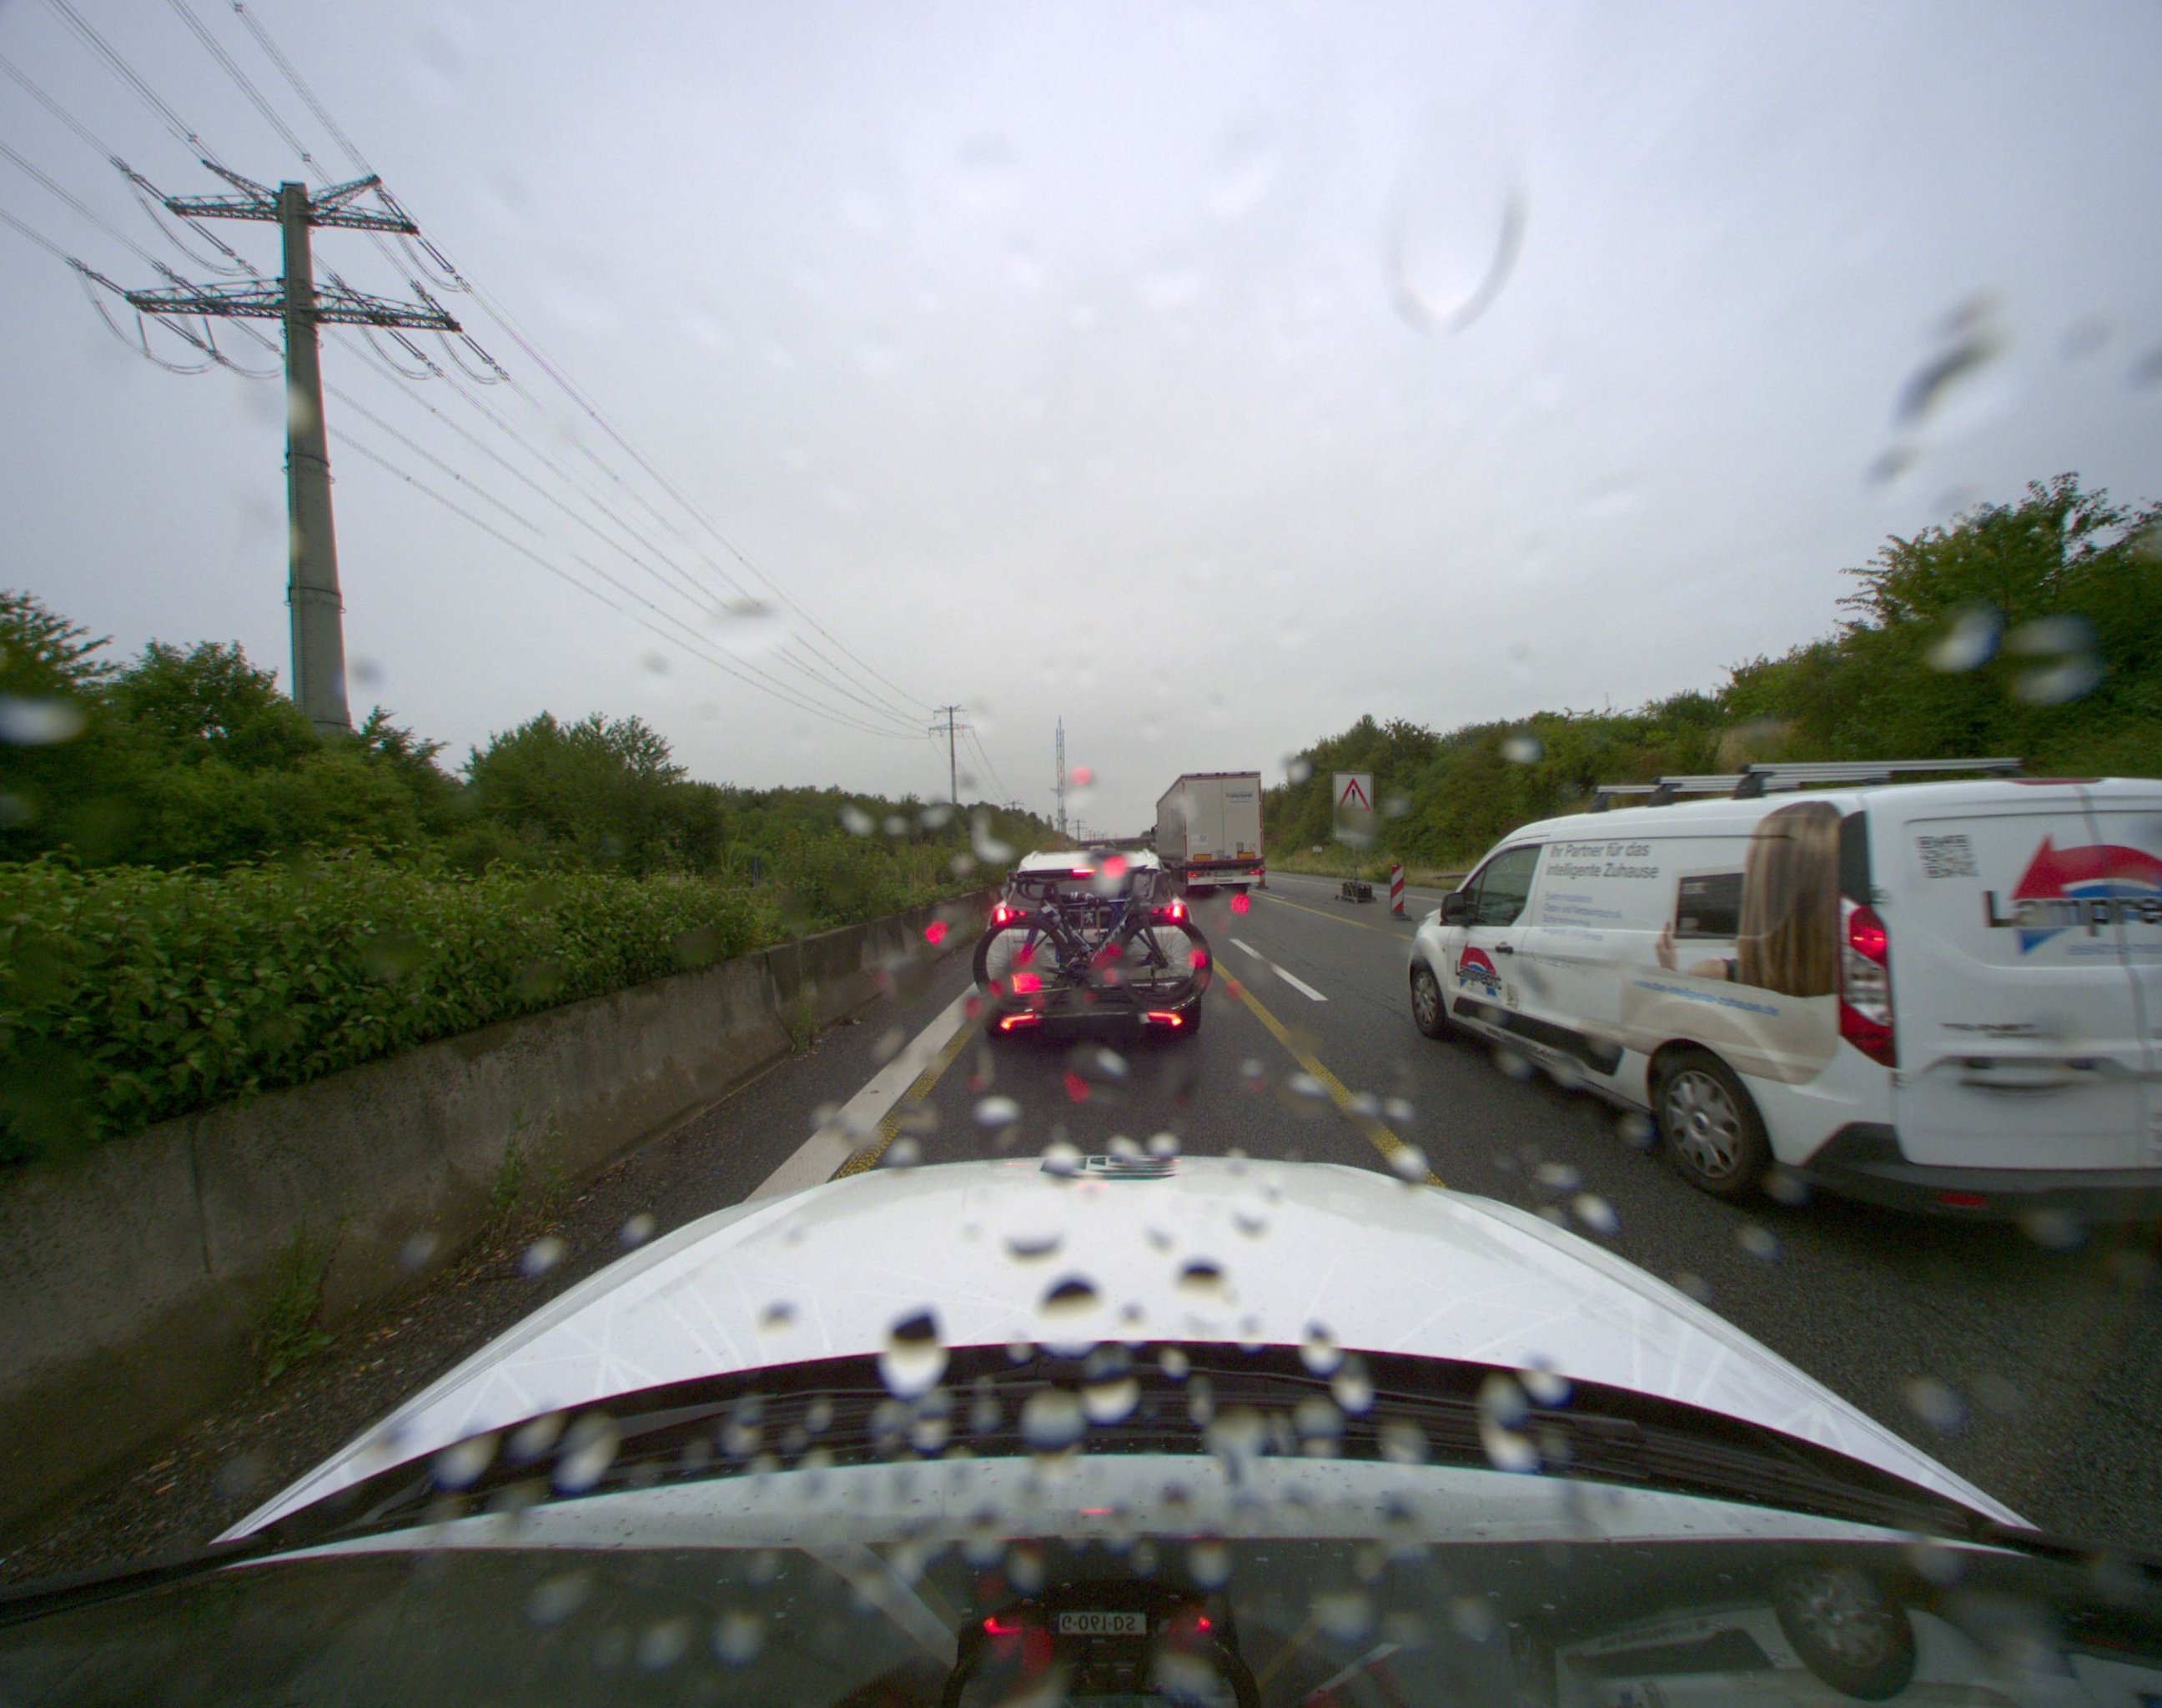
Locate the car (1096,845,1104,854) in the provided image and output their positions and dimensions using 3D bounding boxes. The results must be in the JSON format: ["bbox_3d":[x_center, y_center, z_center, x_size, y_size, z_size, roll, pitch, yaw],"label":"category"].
[{"bbox_3d":[4.504,-1.023,191.808,1.924,1.973,4.002,-1,1,2],"label":"car"}]

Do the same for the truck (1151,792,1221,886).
[{"bbox_3d":[4.886,-0.670,39.000,2.650,4.076,6.542,-1,0,2],"label":"truck"}]

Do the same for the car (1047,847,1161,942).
[{"bbox_3d":[0.440,0.662,15.419,1.843,1.531,4.002,-1,0,2],"label":"car"}]

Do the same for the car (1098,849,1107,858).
[{"bbox_3d":[4.753,-0.188,179.171,1.924,1.910,4.002,-1,1,2],"label":"car"}]

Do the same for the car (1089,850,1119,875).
[{"bbox_3d":[1.515,0.527,53.305,1.843,1.531,4.002,-1,0,2],"label":"car"}]

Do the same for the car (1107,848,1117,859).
[{"bbox_3d":[6.061,-0.067,158.803,1.924,1.973,4.002,-1,1,2],"label":"car"}]

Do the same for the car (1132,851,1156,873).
[{"bbox_3d":[6.069,0.795,78.933,2.102,1.973,4.002,-1,1,2],"label":"car"}]

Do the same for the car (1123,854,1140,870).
[{"bbox_3d":[6.628,0.994,107.826,2.140,1.973,4.002,-1,1,2],"label":"car"}]

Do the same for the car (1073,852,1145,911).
[{"bbox_3d":[0.797,0.723,23.375,1.843,1.531,4.002,-1,0,2],"label":"car"}]

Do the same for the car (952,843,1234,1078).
[{"bbox_3d":[0.153,0.706,7.793,1.843,1.531,4.770,-1,0,2],"label":"car"}]

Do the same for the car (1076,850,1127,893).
[{"bbox_3d":[0.827,0.644,31.898,1.843,1.531,4.002,-1,0,2],"label":"car"}]

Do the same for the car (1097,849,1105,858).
[{"bbox_3d":[4.589,-0.130,186.289,1.924,1.973,4.002,-1,1,2],"label":"car"}]

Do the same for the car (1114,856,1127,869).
[{"bbox_3d":[6.742,1.413,138.680,2.140,1.973,4.002,-1,1,2],"label":"car"}]

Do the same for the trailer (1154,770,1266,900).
[{"bbox_3d":[4.722,-0.617,32.741,2.682,4.076,13.639,-1,0,2],"label":"trailer"}]

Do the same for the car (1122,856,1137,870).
[{"bbox_3d":[7.320,1.339,123.012,2.140,1.973,4.002,-1,1,2],"label":"car"}]

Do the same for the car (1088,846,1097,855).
[{"bbox_3d":[3.248,-1.070,226.074,2.249,2.424,4.002,-1,1,2],"label":"car"}]

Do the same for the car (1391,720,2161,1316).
[{"bbox_3d":[3.590,0.497,4.850,1.822,1.839,4.657,-1,0,2],"label":"car"}]
